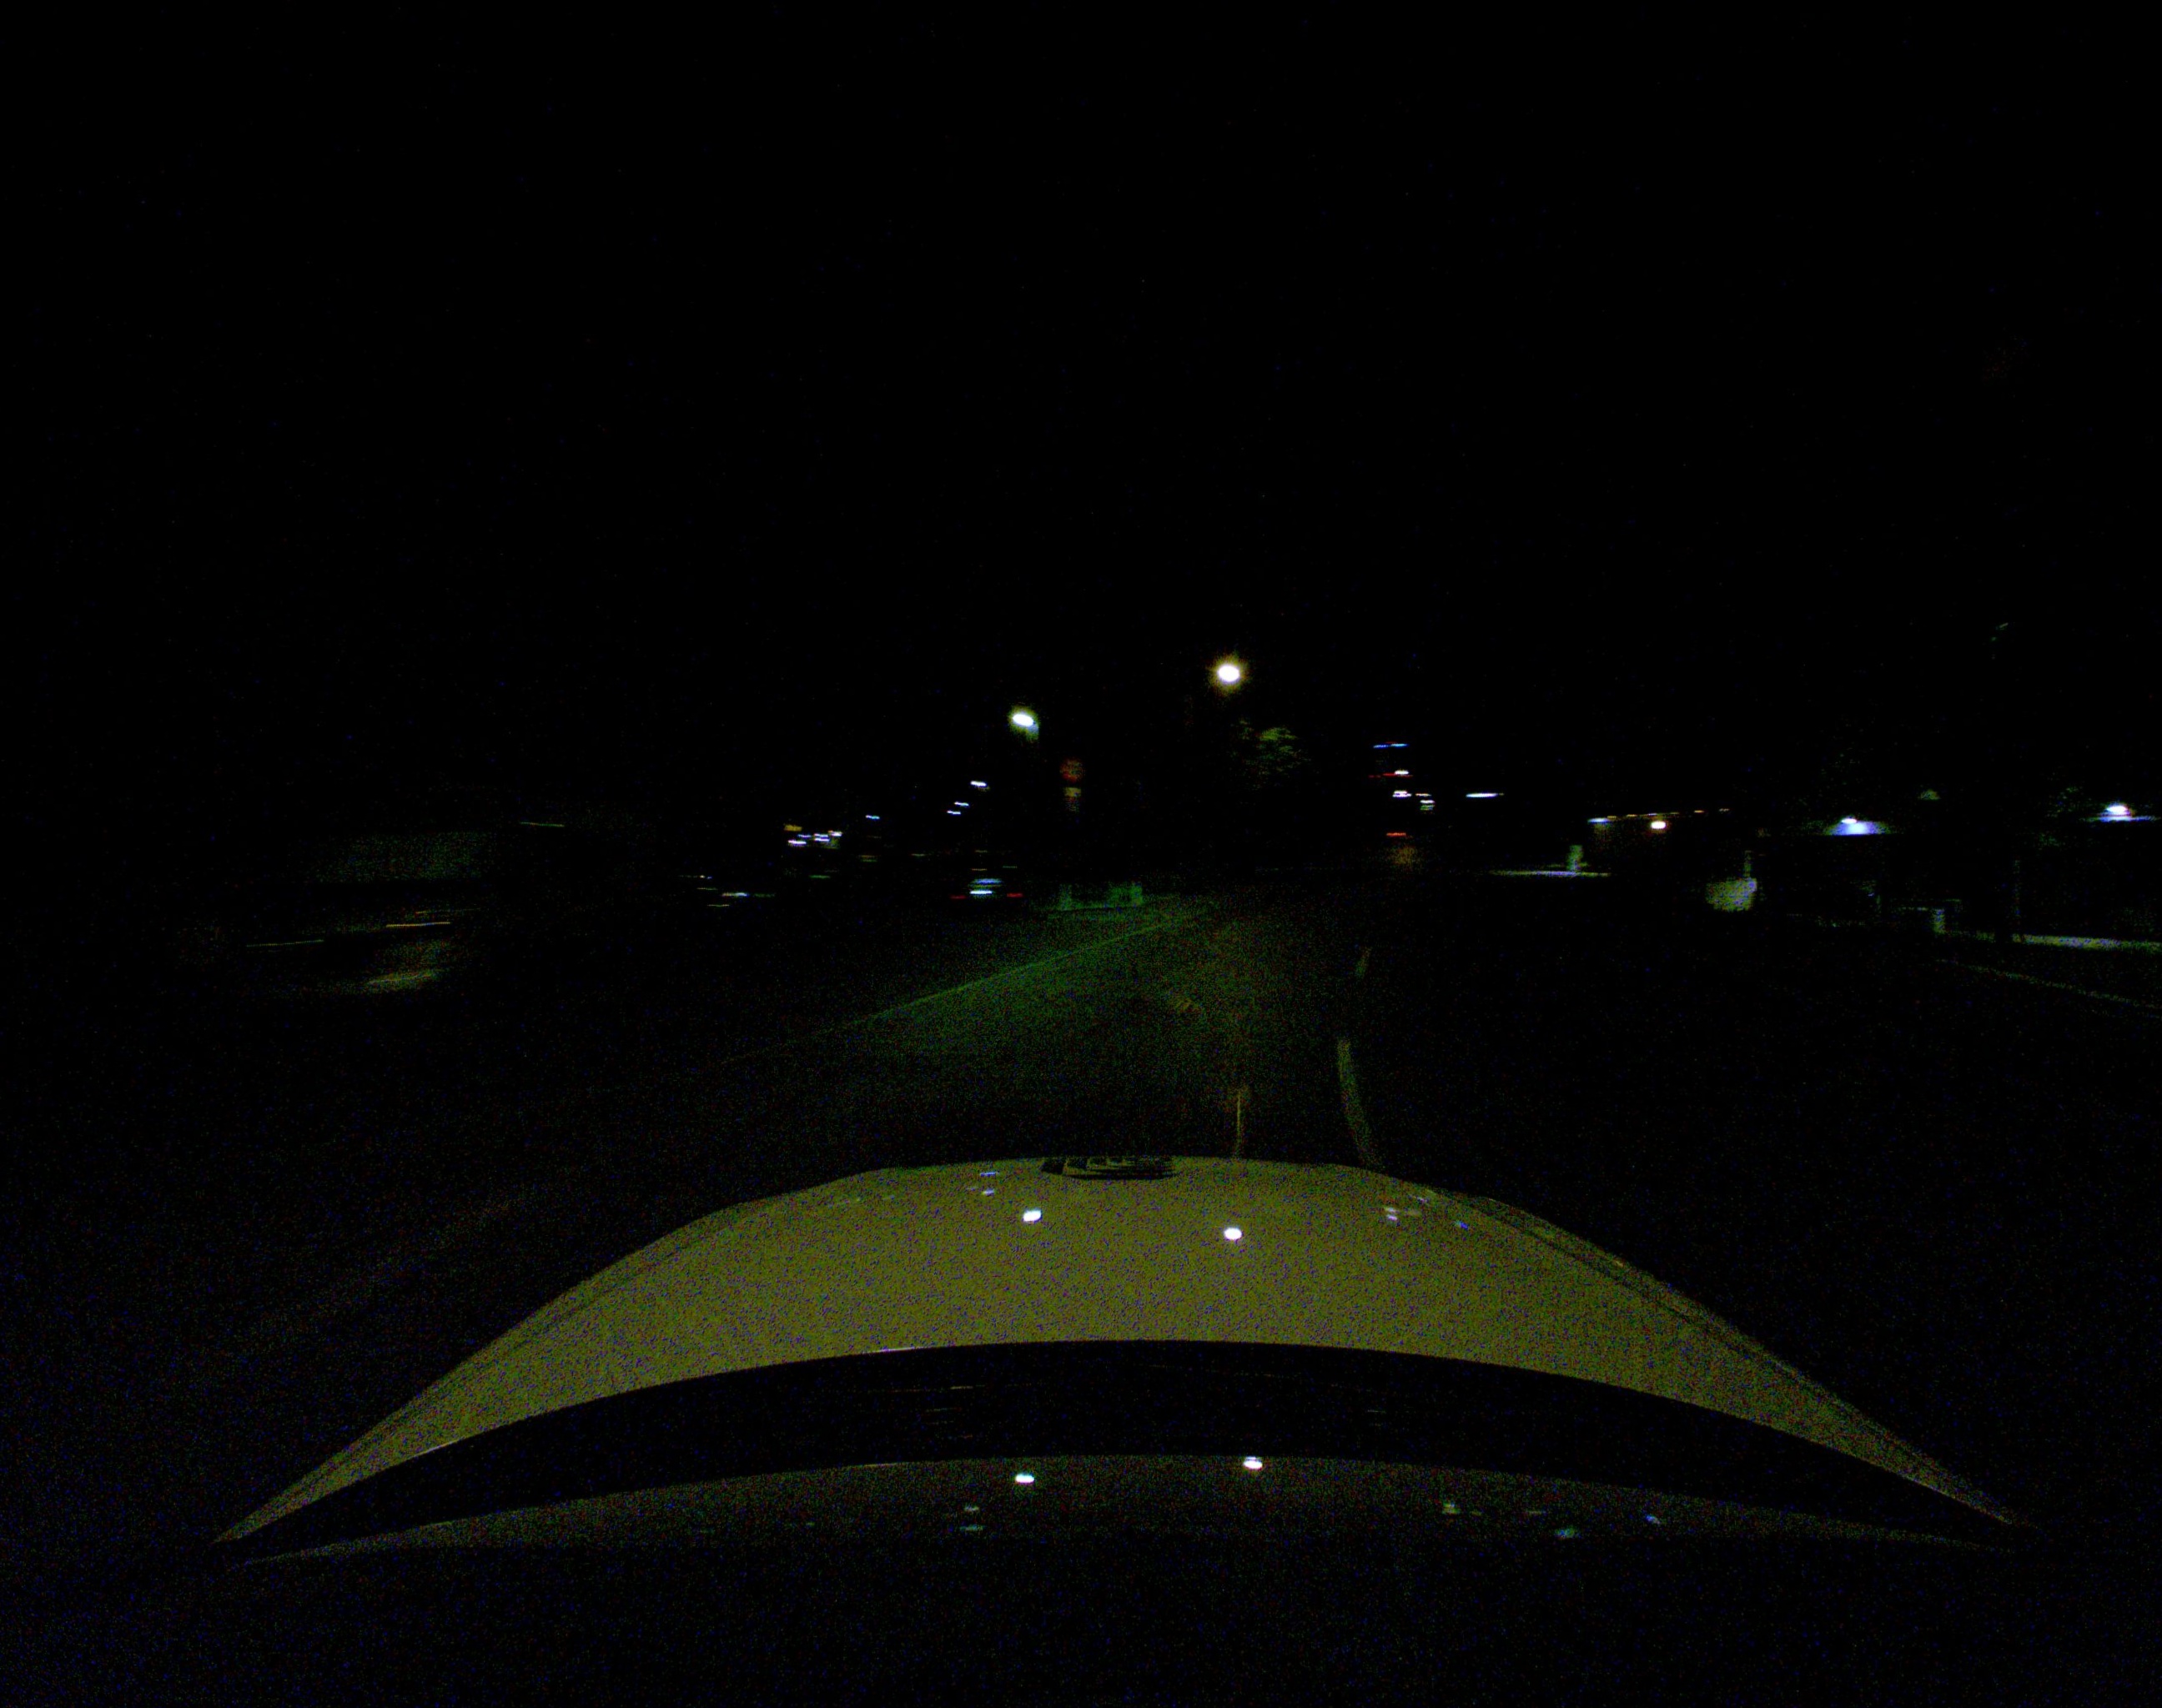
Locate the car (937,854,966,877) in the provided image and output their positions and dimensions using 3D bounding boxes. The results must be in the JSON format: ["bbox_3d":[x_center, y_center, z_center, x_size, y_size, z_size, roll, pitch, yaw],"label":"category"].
[{"bbox_3d":[-8.847,0.765,55.252,1.759,1.445,4.010,-1,0,-11],"label":"car"}]

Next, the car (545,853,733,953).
[{"bbox_3d":[-8.287,0.809,15.774,1.893,1.591,4.358,-2,0,-11],"label":"car"}]

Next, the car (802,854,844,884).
[{"bbox_3d":[-13.590,0.802,43.077,1.706,1.510,4.083,0,-1,-11],"label":"car"}]

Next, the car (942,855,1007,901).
[{"bbox_3d":[-3.616,0.764,27.155,1.964,1.383,3.986,-1,-1,-10],"label":"car"}]

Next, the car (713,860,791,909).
[{"bbox_3d":[-10.368,0.916,25.946,1.693,1.398,4.060,-1,0,-13],"label":"car"}]

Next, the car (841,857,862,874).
[{"bbox_3d":[-22.082,1.111,78.397,1.608,1.516,3.792,-1,-1,-12],"label":"car"}]

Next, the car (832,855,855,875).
[{"bbox_3d":[-21.088,0.988,72.423,1.638,1.760,3.947,-1,-1,-11],"label":"car"}]

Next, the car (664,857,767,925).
[{"bbox_3d":[-9.310,0.867,21.097,1.843,1.507,4.714,-1,0,-17],"label":"car"}]

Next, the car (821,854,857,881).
[{"bbox_3d":[-14.474,0.797,48.866,1.677,1.566,4.089,-1,-1,-11],"label":"car"}]

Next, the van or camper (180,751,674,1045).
[{"bbox_3d":[-7.380,0.370,10.421,2.159,2.535,6.203,-3,0,-11],"label":"van or camper"}]

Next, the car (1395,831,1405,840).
[{"bbox_3d":[70.730,-4.135,180.657,1.908,1.854,4.021,-1,-1,22],"label":"car"}]

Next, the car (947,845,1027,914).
[{"bbox_3d":[-2.601,0.636,21.995,1.884,1.603,4.095,-2,0,-9],"label":"car"}]

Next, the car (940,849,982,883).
[{"bbox_3d":[-6.641,0.641,44.640,2.040,1.694,4.864,-3,0,-10],"label":"car"}]

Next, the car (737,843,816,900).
[{"bbox_3d":[-11.474,0.609,30.994,1.994,1.955,4.788,-1,0,-11],"label":"car"}]

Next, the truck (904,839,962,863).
[{"bbox_3d":[-17.718,-0.375,97.700,6.785,2.844,1.991,0,0,-14],"label":"truck"}]
